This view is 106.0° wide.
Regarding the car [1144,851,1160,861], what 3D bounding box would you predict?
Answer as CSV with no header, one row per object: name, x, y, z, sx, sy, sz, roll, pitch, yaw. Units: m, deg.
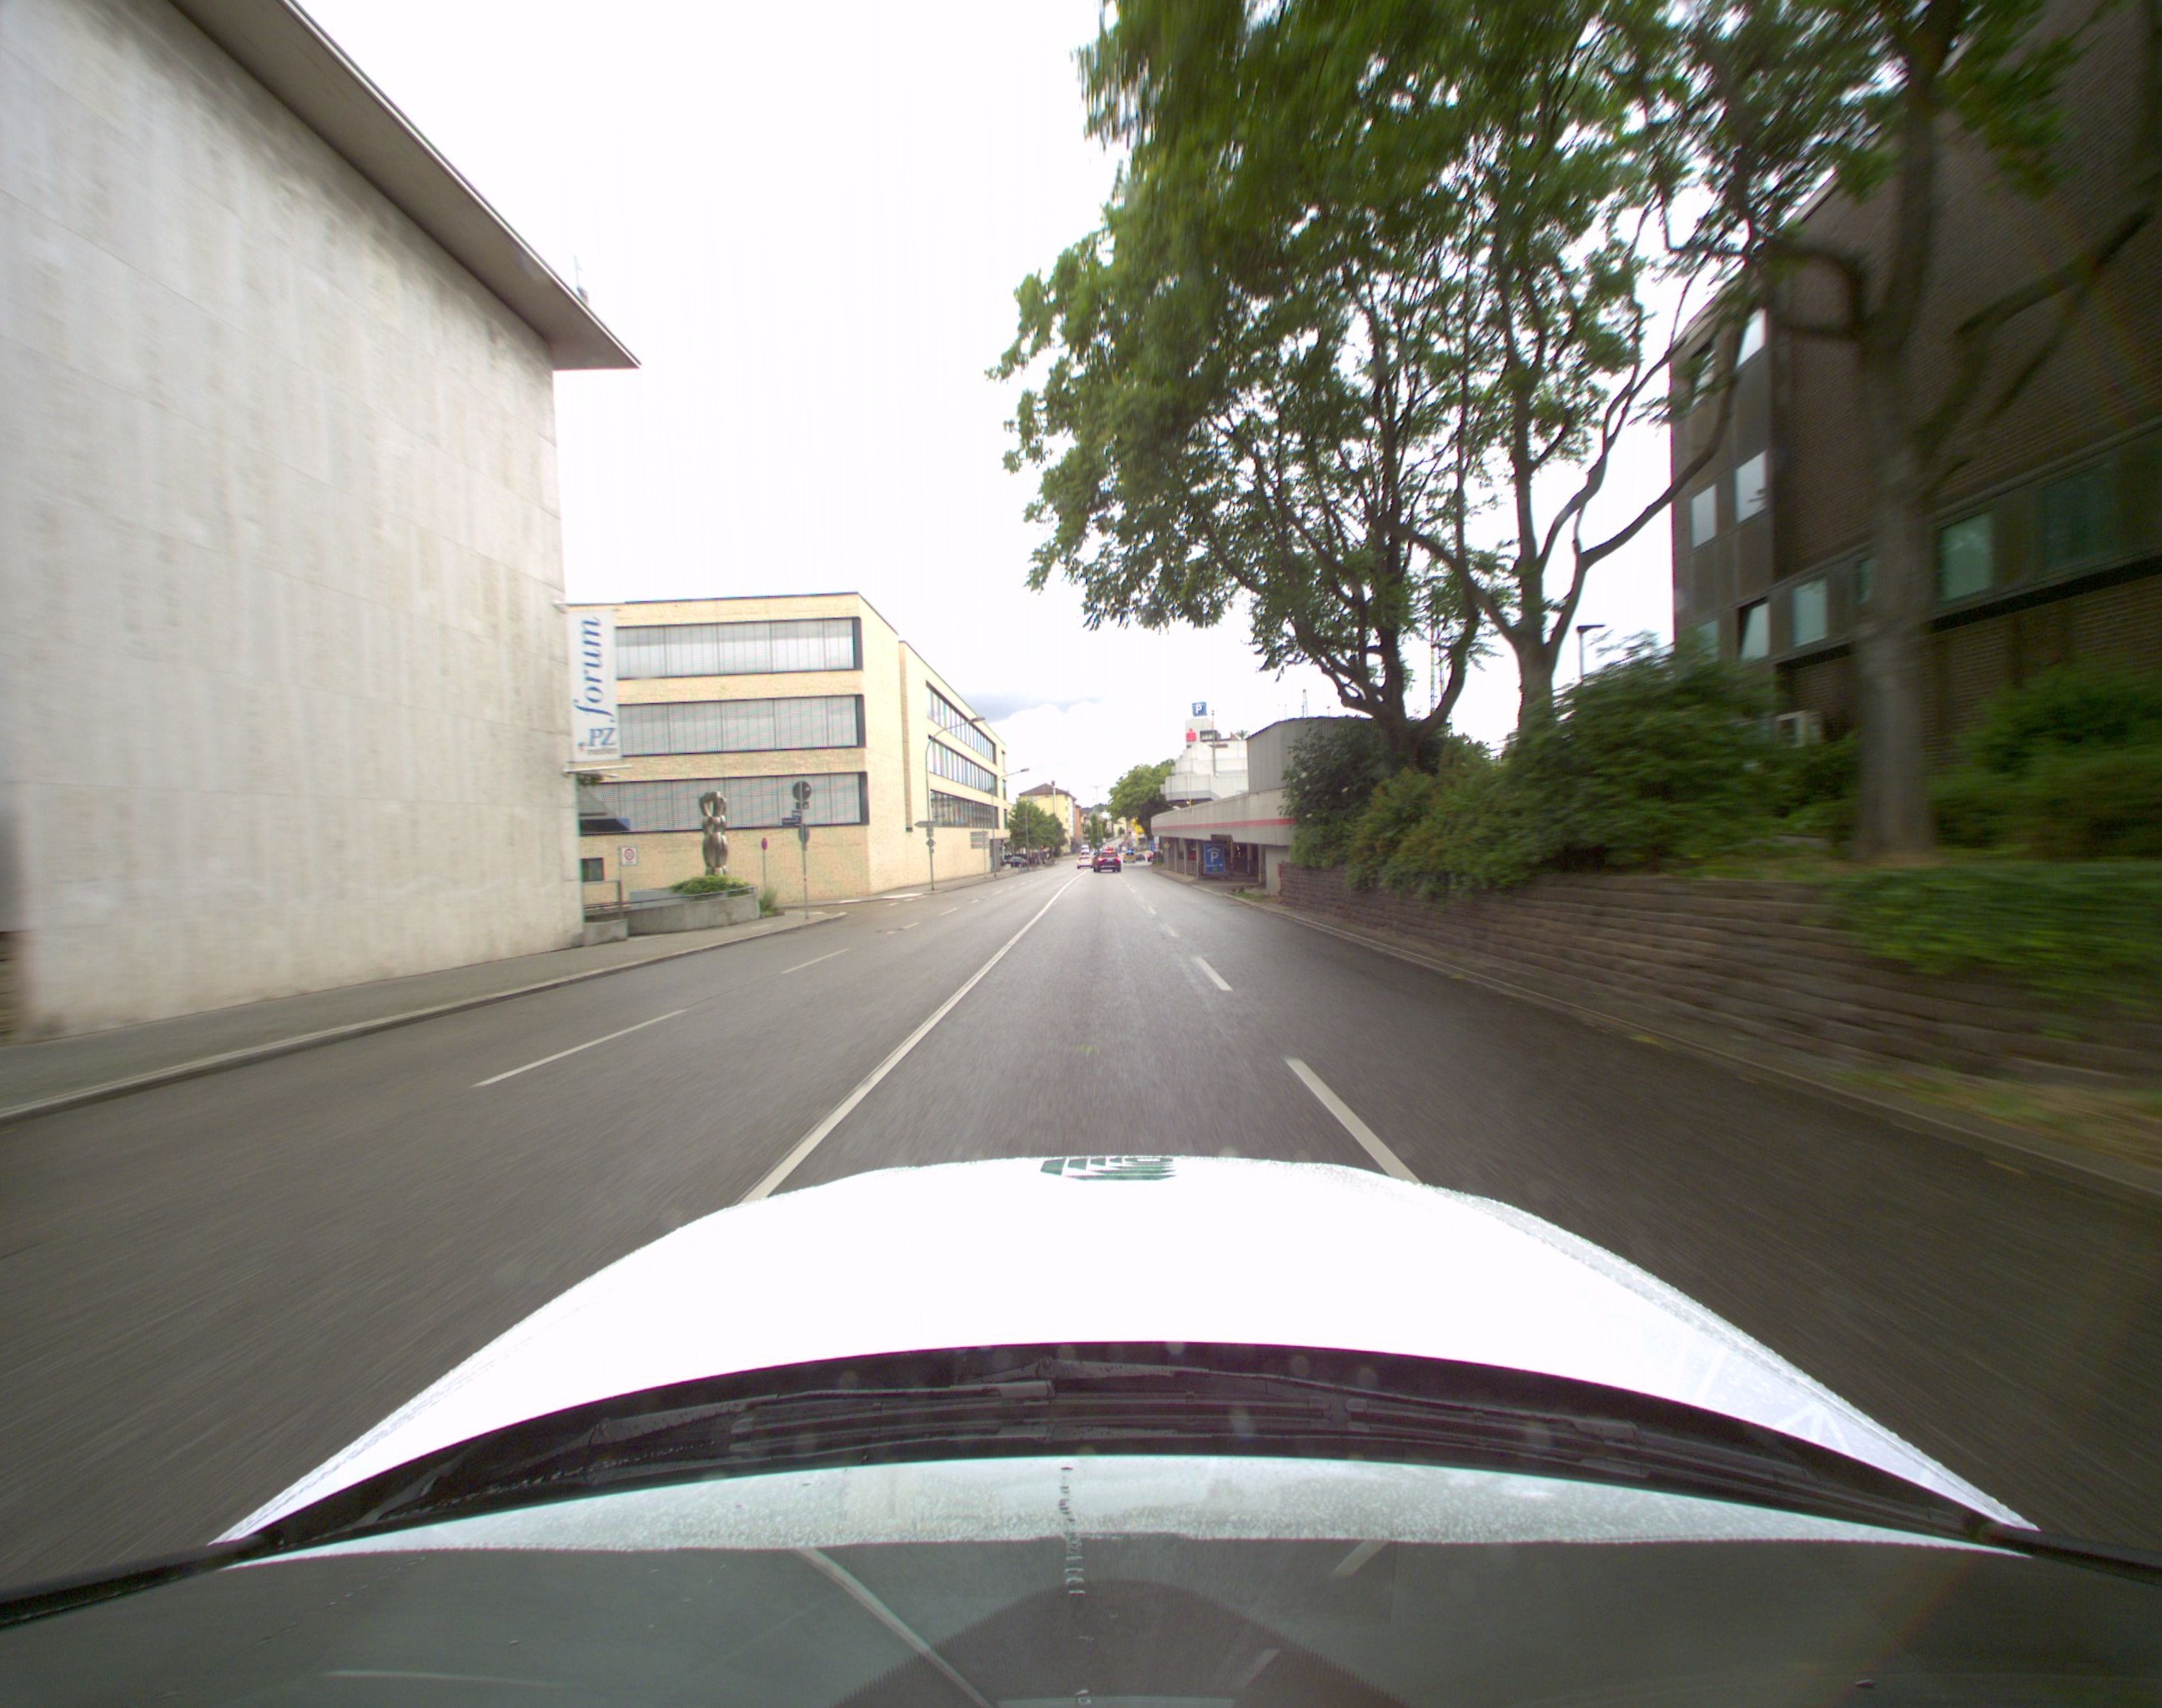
car,12.612,0.275,144.206,1.979,1.680,4.016,-2,0,15

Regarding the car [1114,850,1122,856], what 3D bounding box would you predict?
car,10.181,-0.260,223.892,1.988,1.679,3.998,-2,1,-1

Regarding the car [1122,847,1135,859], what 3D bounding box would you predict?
car,8.084,-0.124,138.104,2.164,2.004,4.003,-2,0,2

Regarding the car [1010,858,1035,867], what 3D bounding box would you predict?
car,-8.851,1.224,123.603,3.648,1.235,1.439,-2,0,-5

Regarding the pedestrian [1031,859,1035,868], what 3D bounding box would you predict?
pedestrian,-7.245,1.387,122.407,0.450,1.278,0.456,-2,0,12

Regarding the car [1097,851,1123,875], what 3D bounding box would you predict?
car,2.507,0.745,69.812,2.083,1.910,4.102,-2,0,2

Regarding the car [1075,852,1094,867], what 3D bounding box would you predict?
car,0.363,0.646,94.428,1.989,1.680,3.995,-2,0,-3

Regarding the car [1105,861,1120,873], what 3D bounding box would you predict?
car,4.773,1.982,122.803,1.983,1.680,4.008,-2,0,7

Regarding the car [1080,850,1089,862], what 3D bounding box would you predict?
car,0.895,0.576,221.771,2.178,3.098,4.926,-2,0,-2

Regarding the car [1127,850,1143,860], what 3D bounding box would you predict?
car,9.851,0.236,148.352,1.977,1.680,4.019,-2,0,19
